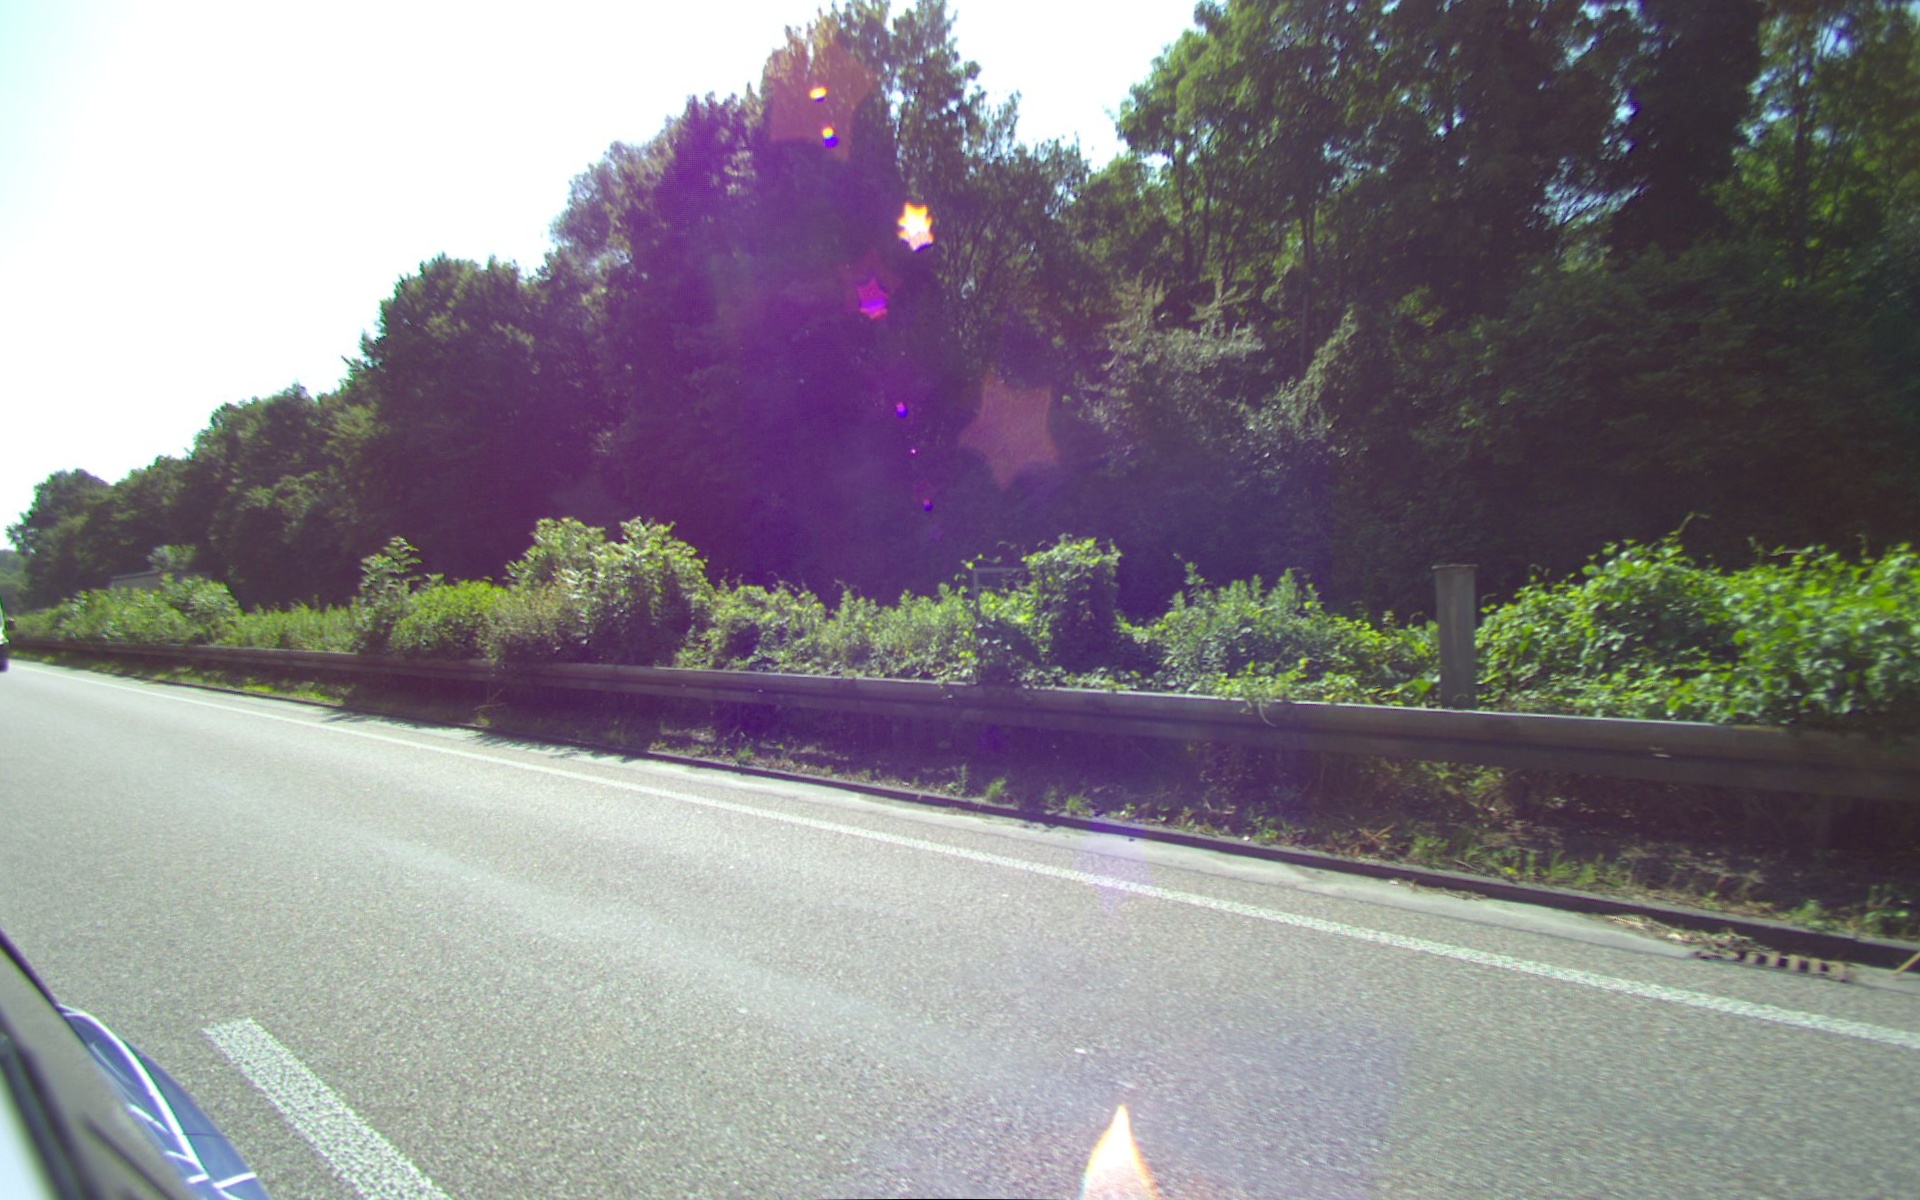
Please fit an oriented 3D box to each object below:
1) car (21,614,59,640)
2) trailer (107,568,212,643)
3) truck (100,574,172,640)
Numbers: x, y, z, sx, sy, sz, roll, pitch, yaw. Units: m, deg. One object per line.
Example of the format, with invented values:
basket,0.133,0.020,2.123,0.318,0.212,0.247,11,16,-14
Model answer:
car,-63.787,1.862,70.129,3.480,1.719,1.590,-1,0,42
trailer,-50.711,0.390,63.885,13.657,4.332,2.799,-1,0,41
truck,-55.678,0.472,68.298,6.534,4.276,2.689,-1,0,41
